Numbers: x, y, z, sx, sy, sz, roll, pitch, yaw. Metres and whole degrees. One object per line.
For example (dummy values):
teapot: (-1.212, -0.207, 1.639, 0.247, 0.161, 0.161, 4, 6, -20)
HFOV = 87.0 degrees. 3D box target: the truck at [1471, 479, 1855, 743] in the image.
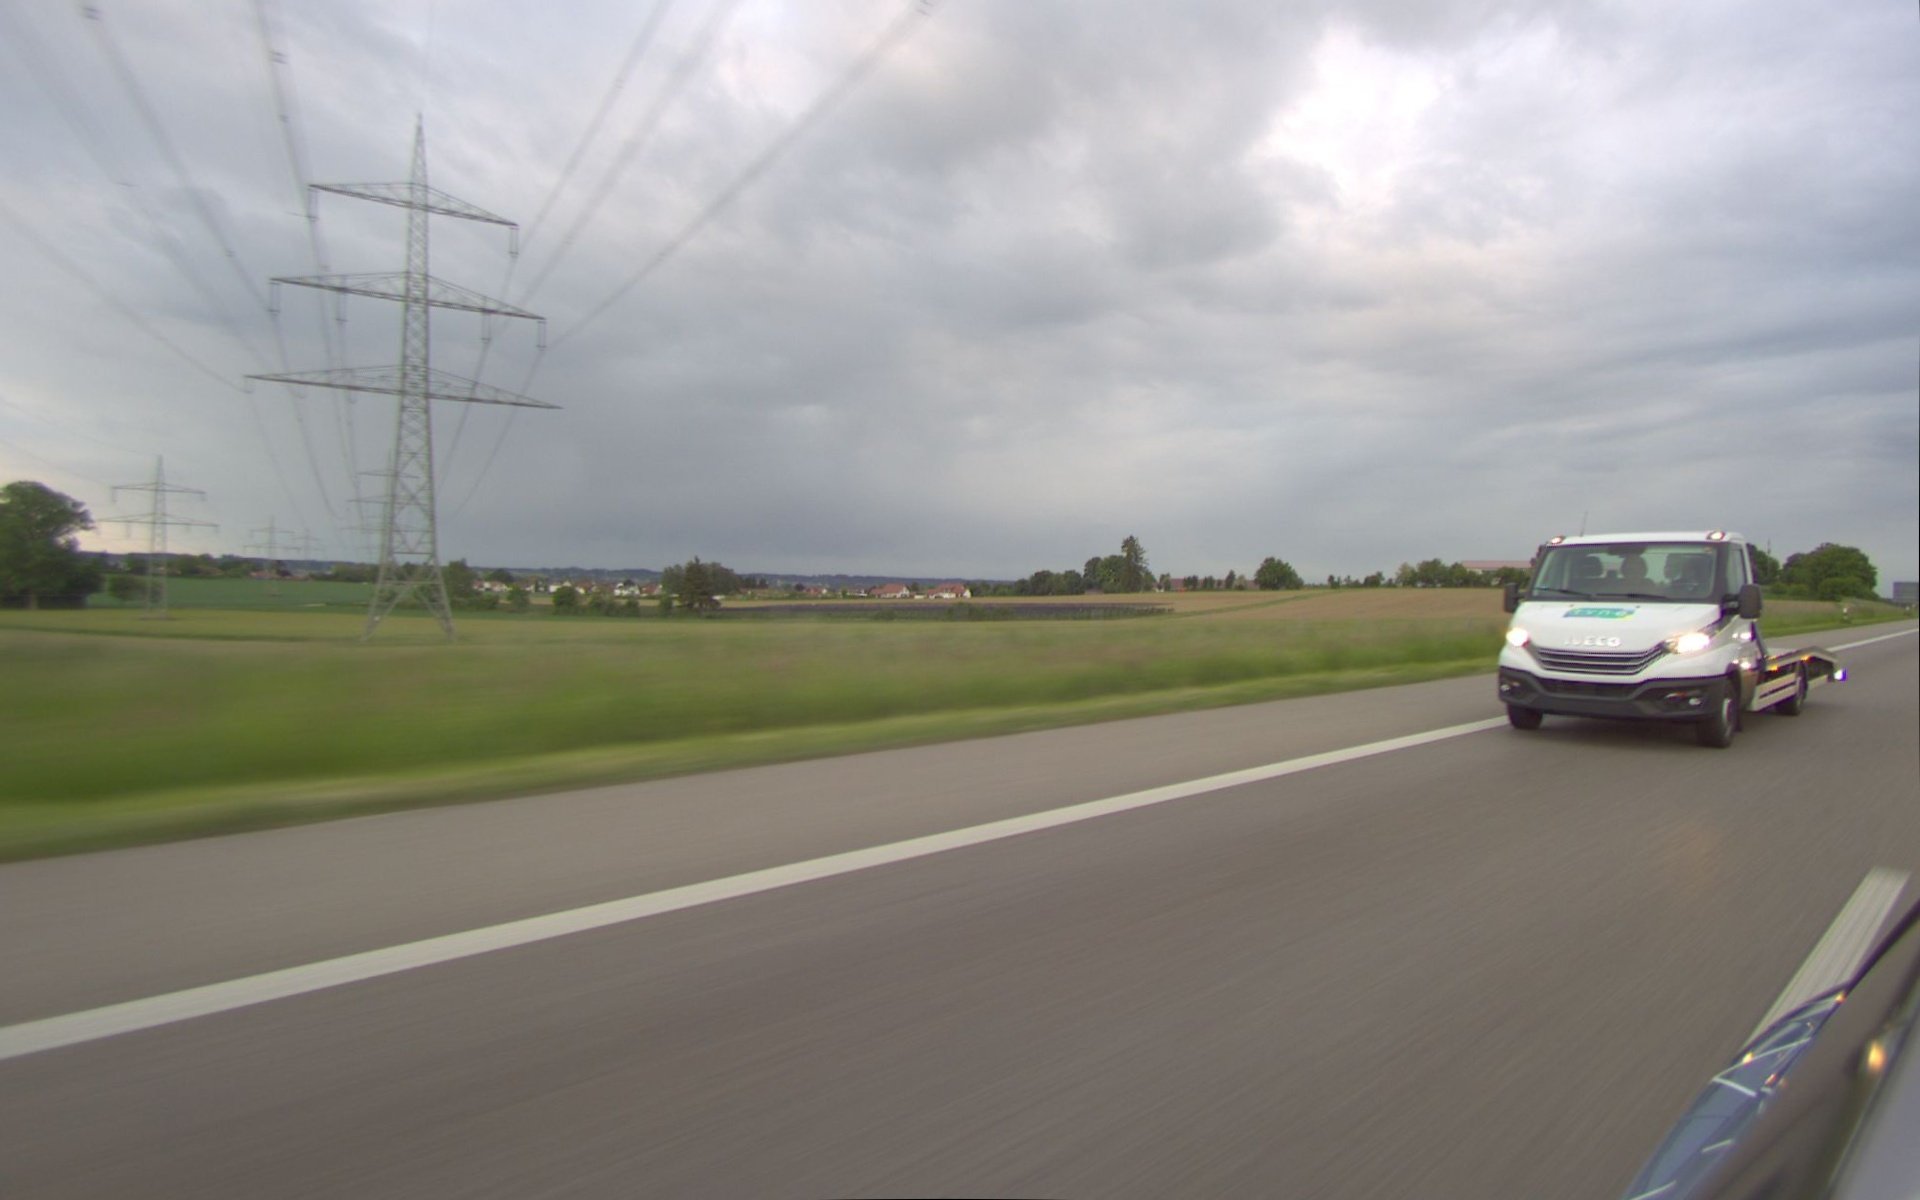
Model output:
truck: (9.004, 0.096, 12.506, 7.563, 2.390, 2.175, 0, 0, -42)
